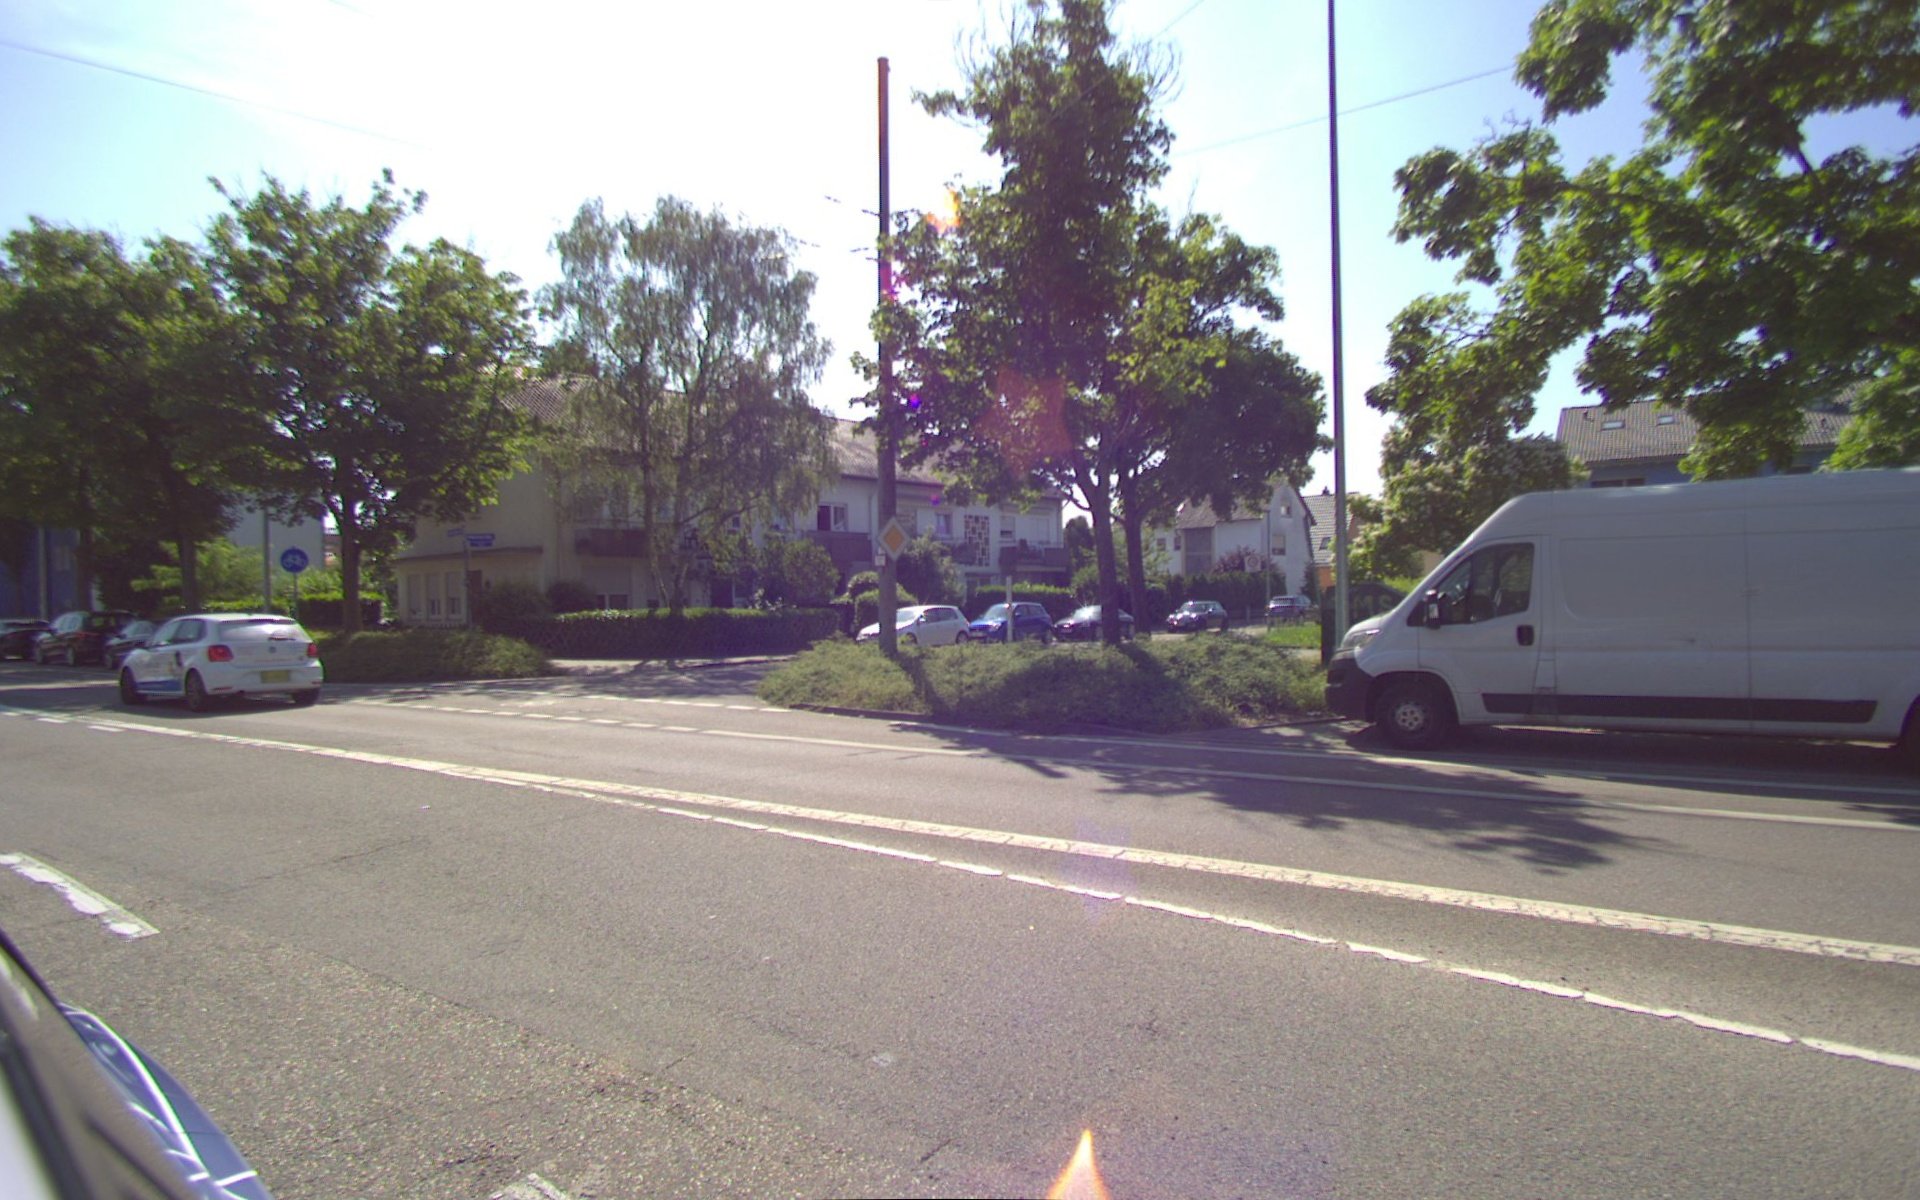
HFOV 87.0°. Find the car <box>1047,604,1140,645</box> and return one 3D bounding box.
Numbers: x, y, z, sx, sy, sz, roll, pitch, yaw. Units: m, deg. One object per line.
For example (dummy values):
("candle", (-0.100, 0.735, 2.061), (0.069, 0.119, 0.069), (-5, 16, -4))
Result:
("car", (5.186, 0.925, 38.940), (1.763, 1.467, 3.948), (-1, 0, 39))

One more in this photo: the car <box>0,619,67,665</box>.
("car", (-32.503, 1.403, 34.628), (4.441, 1.447, 1.662), (-1, -1, 31))

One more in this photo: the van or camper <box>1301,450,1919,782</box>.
("van or camper", (6.658, 0.147, 9.571), (6.131, 2.534, 2.238), (-1, -1, 35))

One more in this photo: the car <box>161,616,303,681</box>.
("car", (-18.144, 1.173, 25.171), (4.072, 1.461, 1.602), (-1, -1, 34))

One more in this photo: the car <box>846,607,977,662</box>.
("car", (-1.427, 1.001, 31.120), (1.807, 1.536, 3.945), (-1, 0, 41))

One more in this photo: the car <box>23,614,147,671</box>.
("car", (-26.835, 1.265, 31.011), (4.227, 1.625, 1.662), (-1, -1, 31))

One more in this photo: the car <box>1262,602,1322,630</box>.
("car", (17.708, 0.830, 53.945), (1.763, 1.467, 3.948), (-1, 0, 39))

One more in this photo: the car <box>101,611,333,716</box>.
("car", (-11.906, 0.947, 16.157), (3.989, 1.476, 1.713), (-1, -2, 34))

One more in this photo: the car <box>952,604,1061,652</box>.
("car", (1.658, 0.919, 34.990), (1.806, 1.536, 3.948), (-1, 0, 39))

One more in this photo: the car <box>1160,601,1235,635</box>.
("car", (10.836, 0.771, 45.987), (1.763, 1.467, 3.948), (-1, 0, 39))

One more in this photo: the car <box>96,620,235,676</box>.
("car", (-22.069, 1.284, 28.048), (4.568, 1.405, 1.683), (-1, 0, 33))
